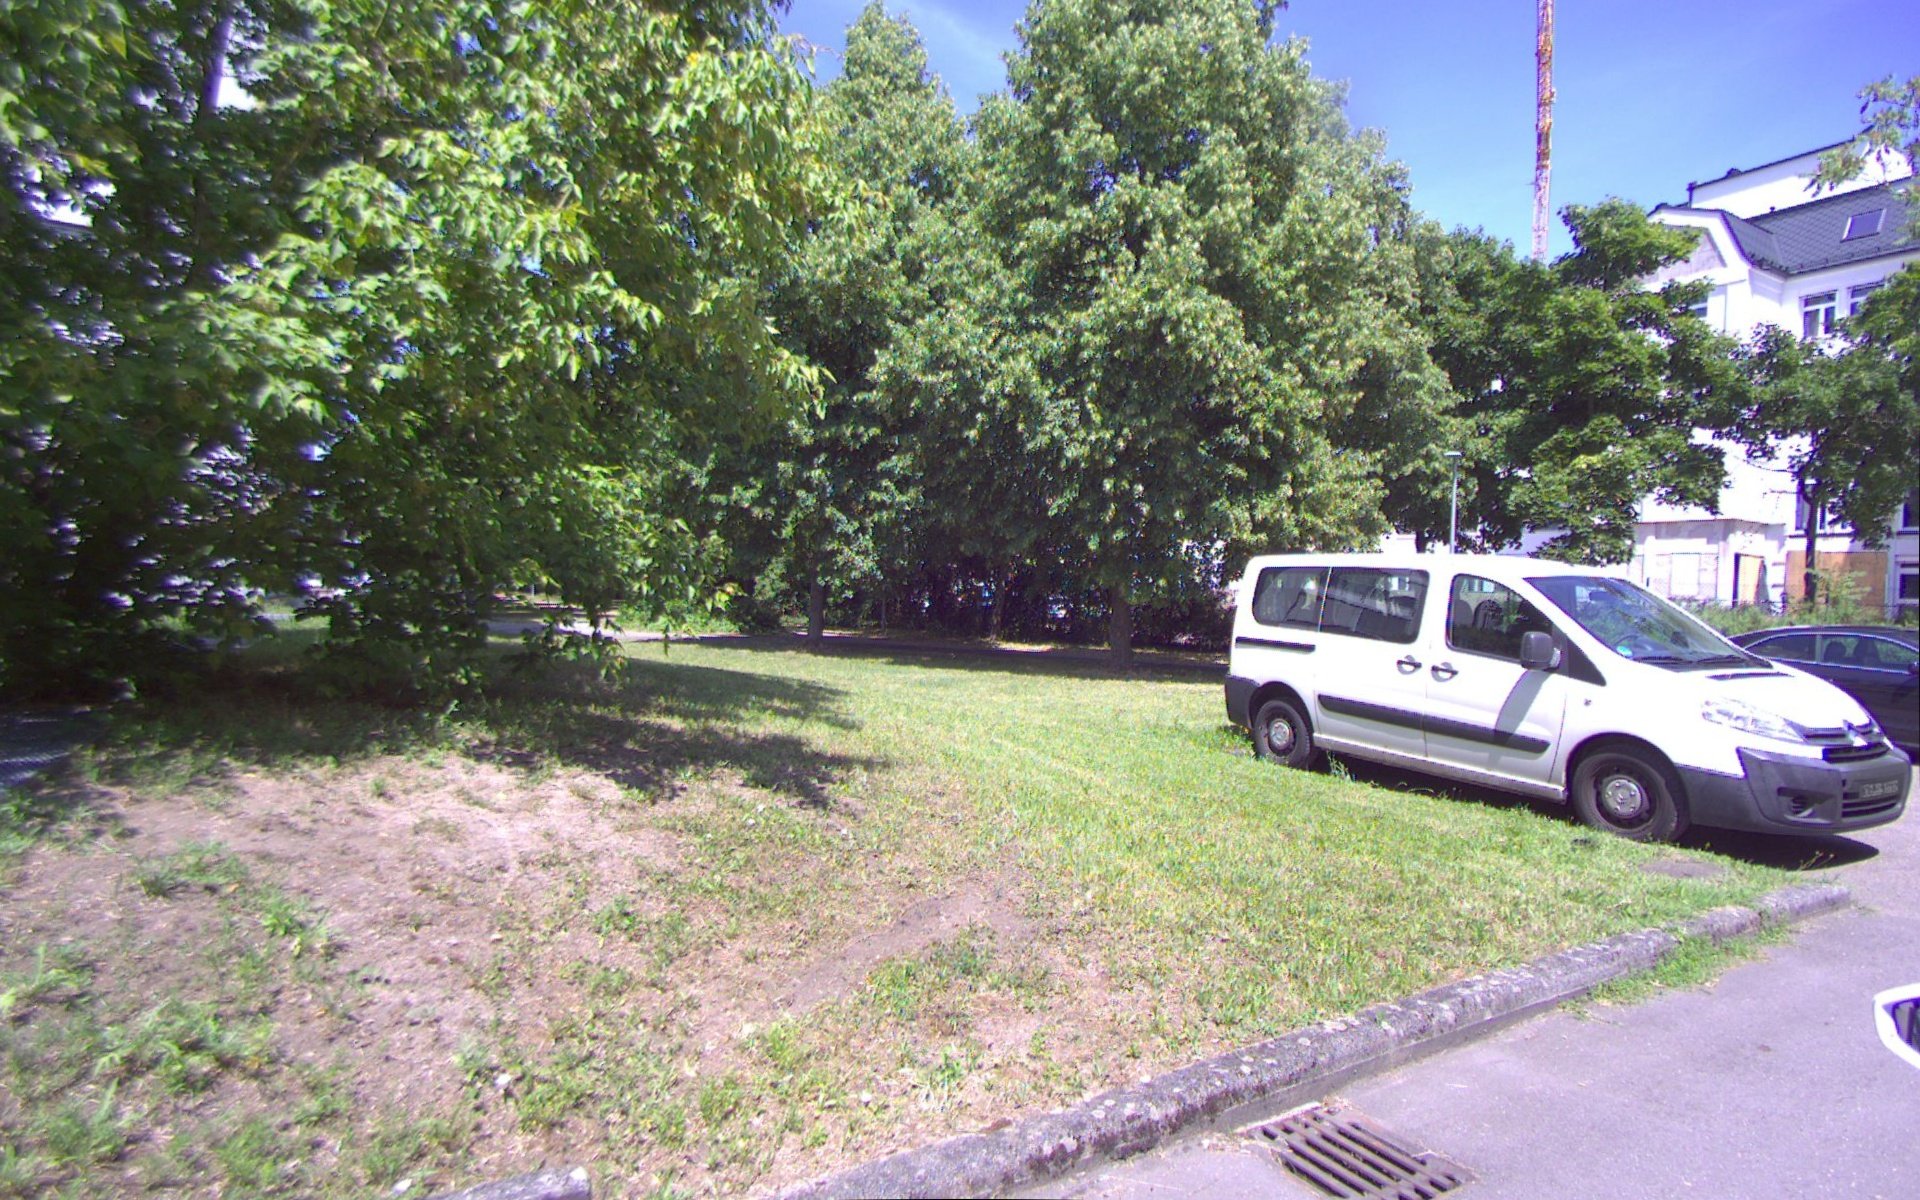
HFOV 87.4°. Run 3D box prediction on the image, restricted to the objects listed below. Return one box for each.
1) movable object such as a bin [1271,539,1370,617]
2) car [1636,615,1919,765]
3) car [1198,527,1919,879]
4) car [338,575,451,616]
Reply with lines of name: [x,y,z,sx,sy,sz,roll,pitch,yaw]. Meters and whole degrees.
movable object such as a bin: [21.647,-1.290,60.622,1.974,4.430,5.685,2,0,-26]
car: [10.183,0.964,10.791,1.998,1.398,4.412,3,0,-27]
car: [4.350,0.557,8.073,2.041,1.908,4.828,3,0,-27]
car: [-25.301,-0.208,44.981,4.294,1.631,1.916,3,0,-33]
